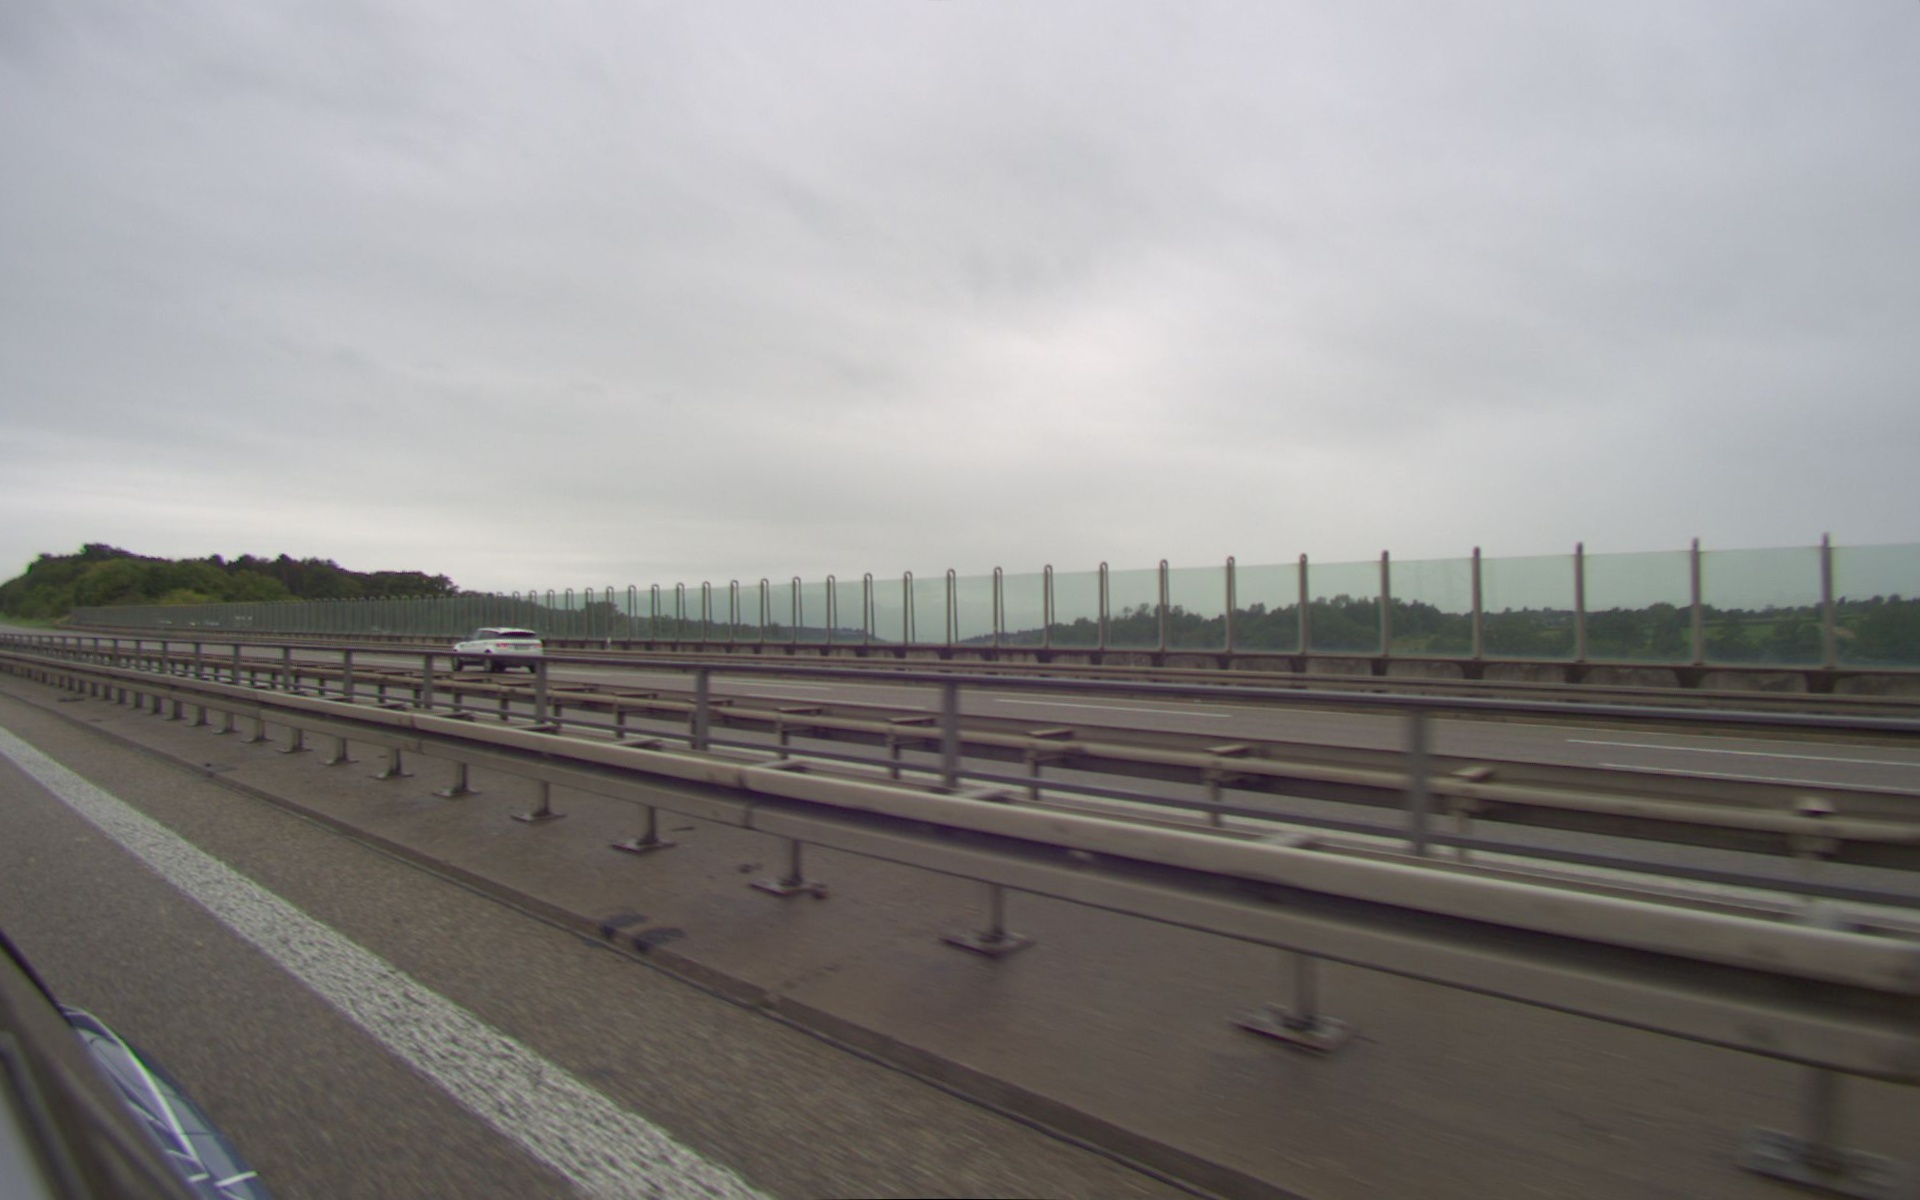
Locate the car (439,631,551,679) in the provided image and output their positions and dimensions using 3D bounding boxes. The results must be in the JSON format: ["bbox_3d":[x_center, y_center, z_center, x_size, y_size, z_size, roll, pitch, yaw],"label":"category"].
[{"bbox_3d":[-17.007,1.968,36.916,4.711,1.642,1.972,-2,-3,41],"label":"car"}]
